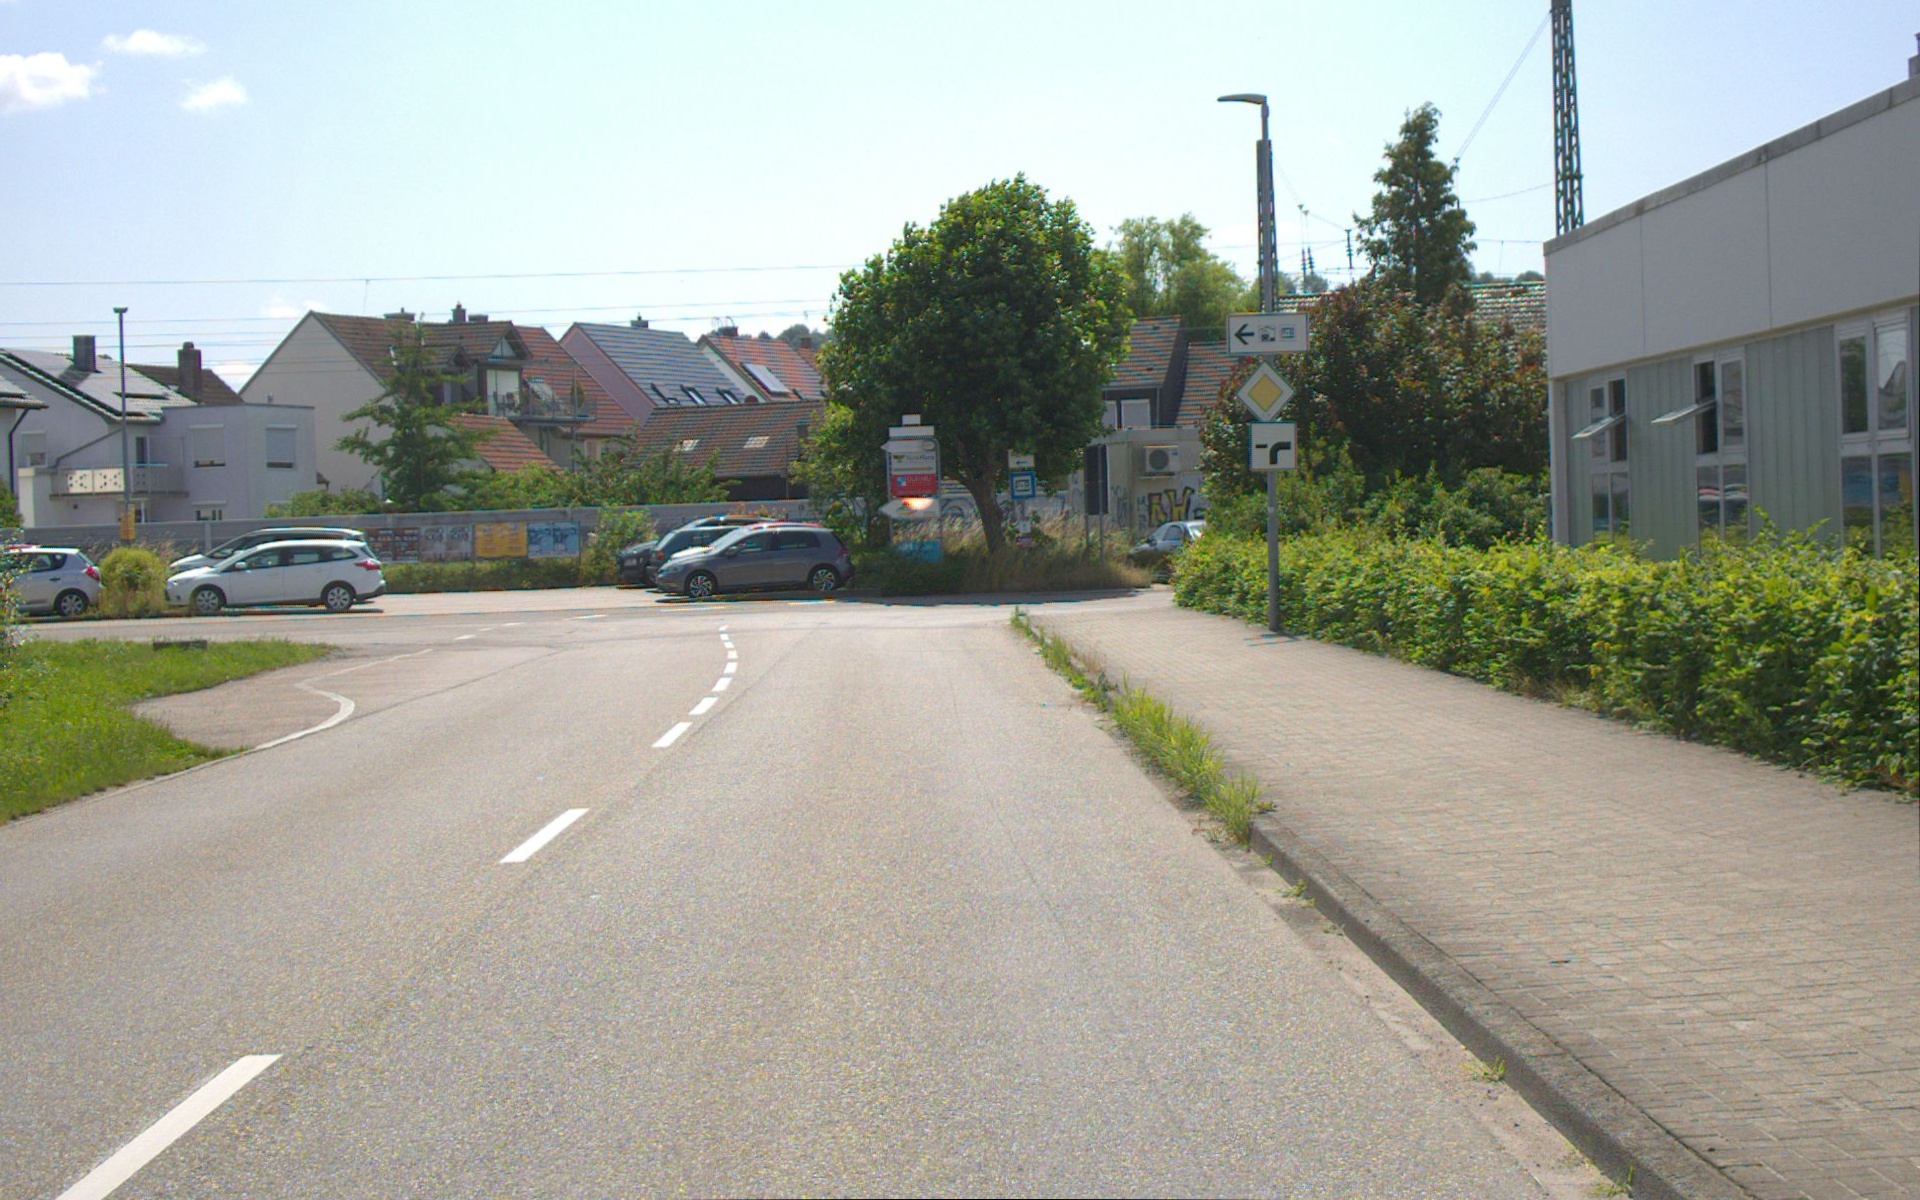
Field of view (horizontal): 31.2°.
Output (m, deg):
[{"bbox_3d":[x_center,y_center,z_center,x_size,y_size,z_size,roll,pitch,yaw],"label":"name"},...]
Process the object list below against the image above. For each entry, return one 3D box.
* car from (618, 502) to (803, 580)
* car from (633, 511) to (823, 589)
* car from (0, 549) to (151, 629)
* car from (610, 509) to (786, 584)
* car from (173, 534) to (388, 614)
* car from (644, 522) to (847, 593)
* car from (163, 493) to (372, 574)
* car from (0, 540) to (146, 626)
[{"bbox_3d":[-5.718,-1.362,78.540,3.986,1.651,2.001,-2,1,-10],"label":"car"},{"bbox_3d":[-5.158,-1.109,76.222,3.986,1.581,1.780,-2,1,-10],"label":"car"},{"bbox_3d":[-18.799,-0.229,70.724,3.999,1.556,1.823,-2,1,-19],"label":"car"},{"bbox_3d":[-6.202,-1.254,81.201,3.986,1.724,1.771,0,0,-10],"label":"car"},{"bbox_3d":[-14.164,-0.545,71.658,4.282,1.471,1.828,-3,1,-13],"label":"car"},{"bbox_3d":[-4.611,-0.923,73.757,4.186,1.458,1.665,-1,1,-9],"label":"car"},{"bbox_3d":[-15.322,-1.486,76.289,4.451,1.684,2.001,-1,2,-9],"label":"car"},{"bbox_3d":[-19.525,-0.342,72.960,4.159,1.633,1.956,-4,2,-17],"label":"car"}]
